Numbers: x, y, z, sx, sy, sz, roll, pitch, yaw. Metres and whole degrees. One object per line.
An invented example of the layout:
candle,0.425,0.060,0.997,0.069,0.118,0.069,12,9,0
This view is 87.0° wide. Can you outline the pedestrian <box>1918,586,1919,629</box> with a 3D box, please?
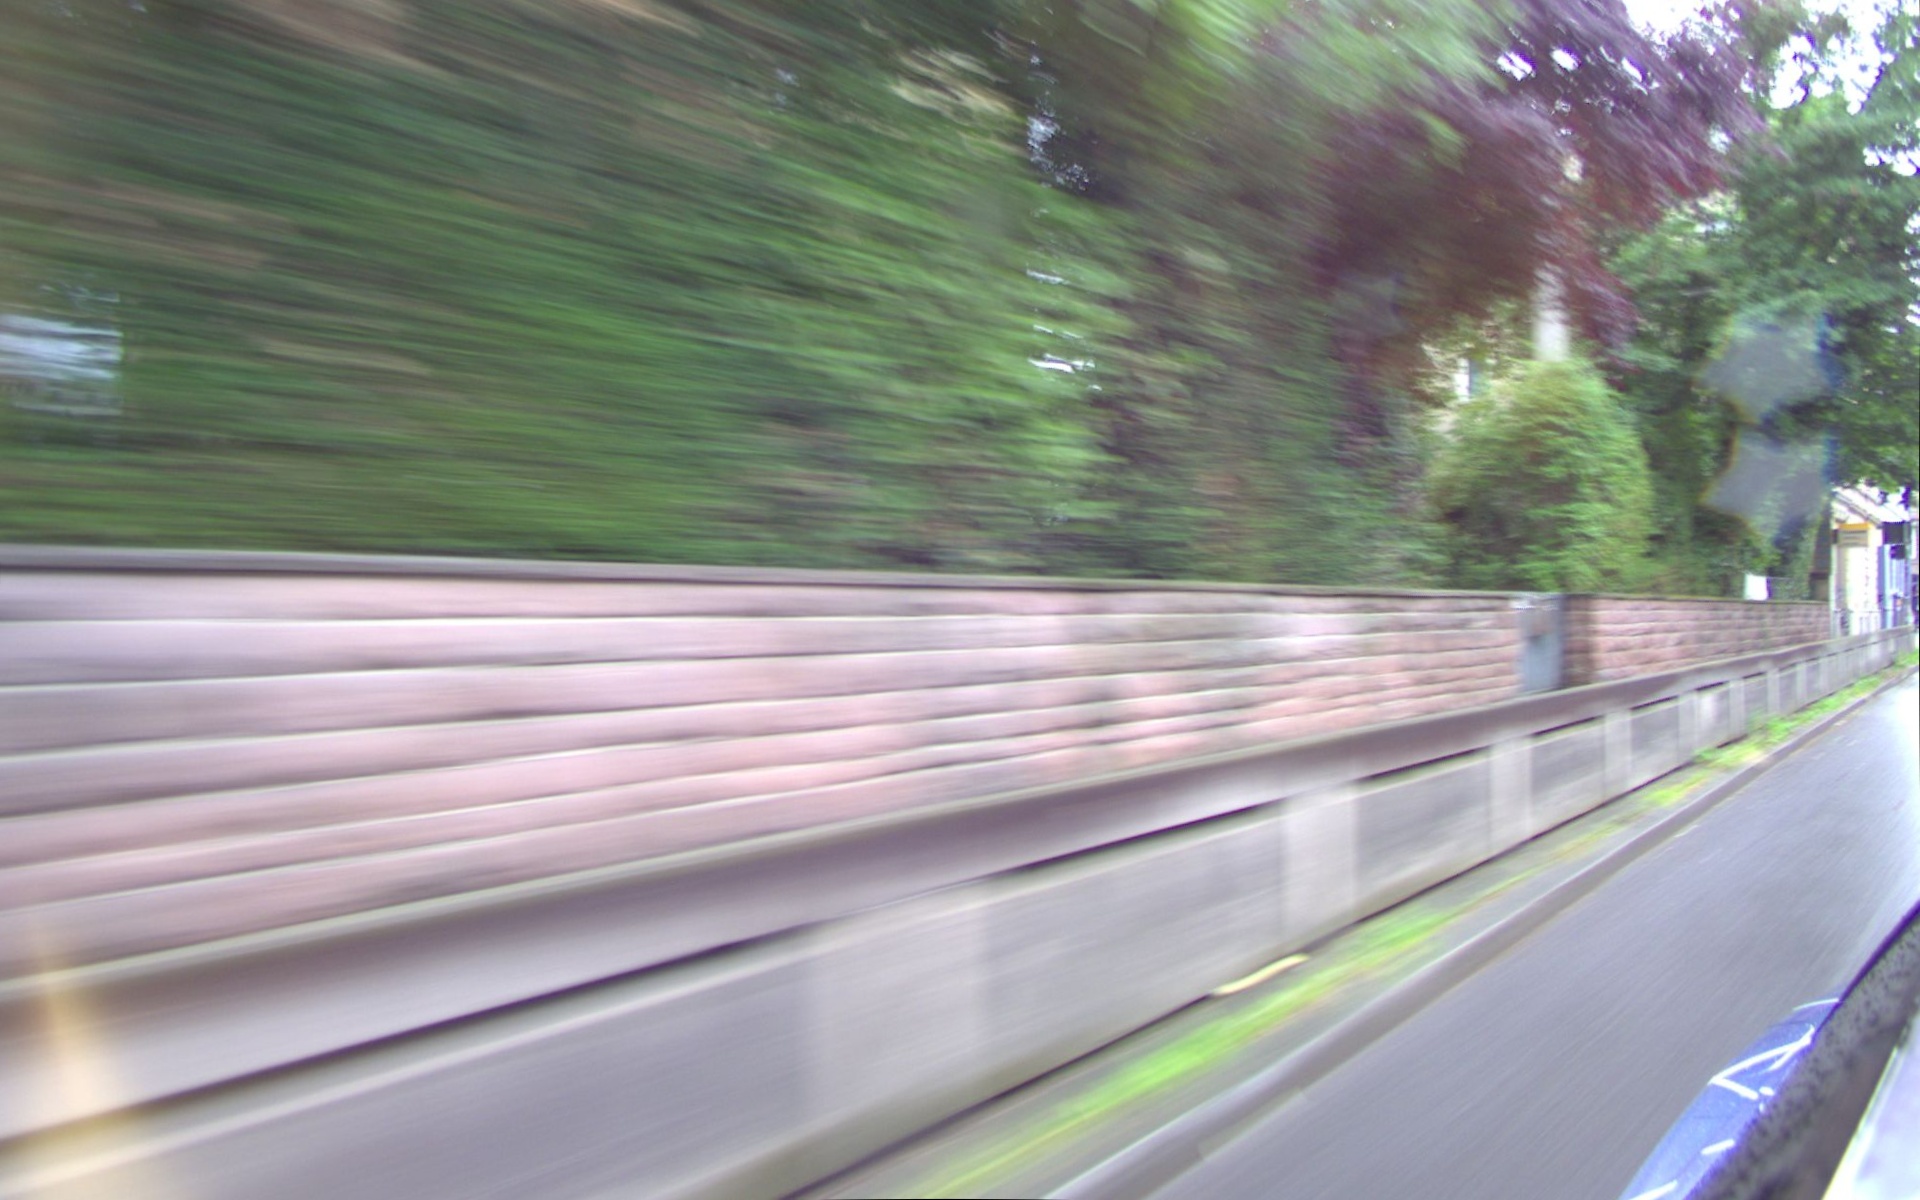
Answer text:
pedestrian,43.094,0.334,44.958,0.578,1.938,0.763,1,-1,-44
